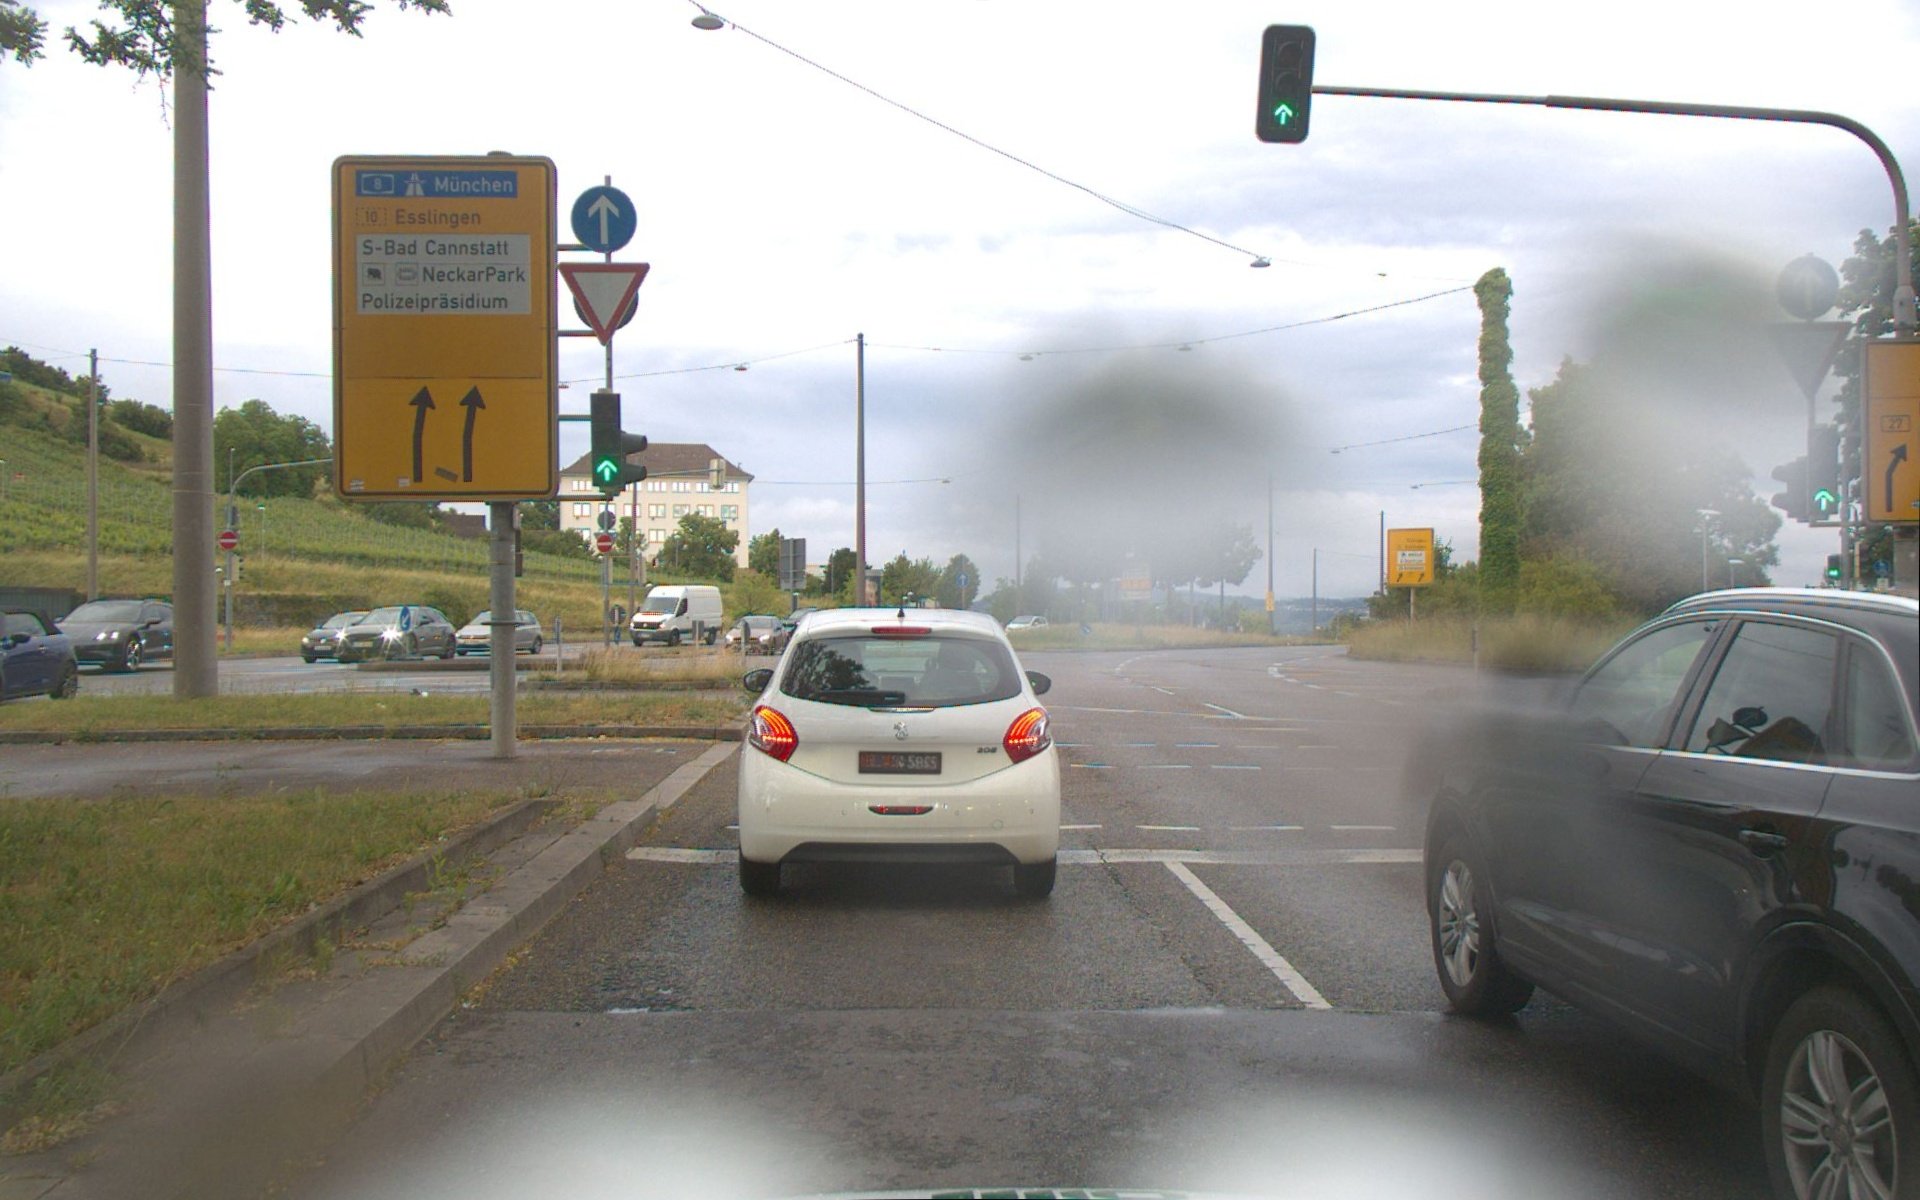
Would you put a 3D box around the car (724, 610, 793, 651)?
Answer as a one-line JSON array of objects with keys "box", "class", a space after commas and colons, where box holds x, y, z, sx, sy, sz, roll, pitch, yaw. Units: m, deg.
[{"box": [-7.376, 1.127, 60.908, 1.738, 1.450, 4.375, -1, -1, 4], "class": "car"}]

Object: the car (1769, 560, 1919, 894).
[{"box": [5.852, 0.664, 7.648, 1.828, 1.703, 4.563, 1, 0, -3], "class": "car"}]

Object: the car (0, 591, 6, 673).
[{"box": [-20.188, 0.582, 31.157, 1.792, 1.652, 4.564, 2, -1, -1], "class": "car"}]

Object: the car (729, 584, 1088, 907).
[{"box": [-0.300, 0.717, 9.835, 1.683, 1.515, 3.998, 1, -1, -2], "class": "car"}]

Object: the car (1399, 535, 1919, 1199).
[{"box": [2.864, 0.723, 4.907, 1.846, 1.623, 4.111, 2, -1, -3], "class": "car"}]

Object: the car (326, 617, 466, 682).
[{"box": [-14.625, 1.239, 43.194, 1.862, 1.515, 4.893, 0, 0, 1], "class": "car"}]

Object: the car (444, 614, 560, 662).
[{"box": [-16.192, 1.350, 58.683, 1.952, 1.603, 4.197, 1, -1, 17], "class": "car"}]

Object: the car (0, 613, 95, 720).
[{"box": [-13.802, 0.893, 23.096, 1.752, 1.420, 3.875, 1, -2, -7], "class": "car"}]

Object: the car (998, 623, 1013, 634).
[{"box": [6.426, 4.055, 235.701, 1.804, 1.512, 3.997, 0, 0, -3], "class": "car"}]

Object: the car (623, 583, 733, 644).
[{"box": [-12.553, 0.643, 74.200, 1.952, 2.604, 6.170, 1, -1, 21], "class": "car"}]

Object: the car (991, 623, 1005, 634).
[{"box": [5.640, 4.158, 244.064, 1.804, 1.512, 3.997, 0, 0, -3], "class": "car"}]

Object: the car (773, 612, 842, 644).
[{"box": [-7.944, 1.479, 86.618, 1.952, 1.539, 4.232, 1, -1, 20], "class": "car"}]

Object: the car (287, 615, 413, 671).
[{"box": [-17.734, 1.214, 48.321, 1.786, 1.498, 4.670, 0, 0, 3], "class": "car"}]

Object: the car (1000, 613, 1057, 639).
[{"box": [4.356, 1.637, 104.495, 1.721, 1.539, 3.986, 1, -1, 34], "class": "car"}]

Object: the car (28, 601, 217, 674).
[{"box": [-17.223, 0.723, 34.282, 1.788, 1.386, 4.665, 0, 0, -4], "class": "car"}]

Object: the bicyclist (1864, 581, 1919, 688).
[{"box": [14.625, 0.539, 25.830, 0.793, 1.612, 1.022, 1, -1, 25], "class": "bicyclist"}]
